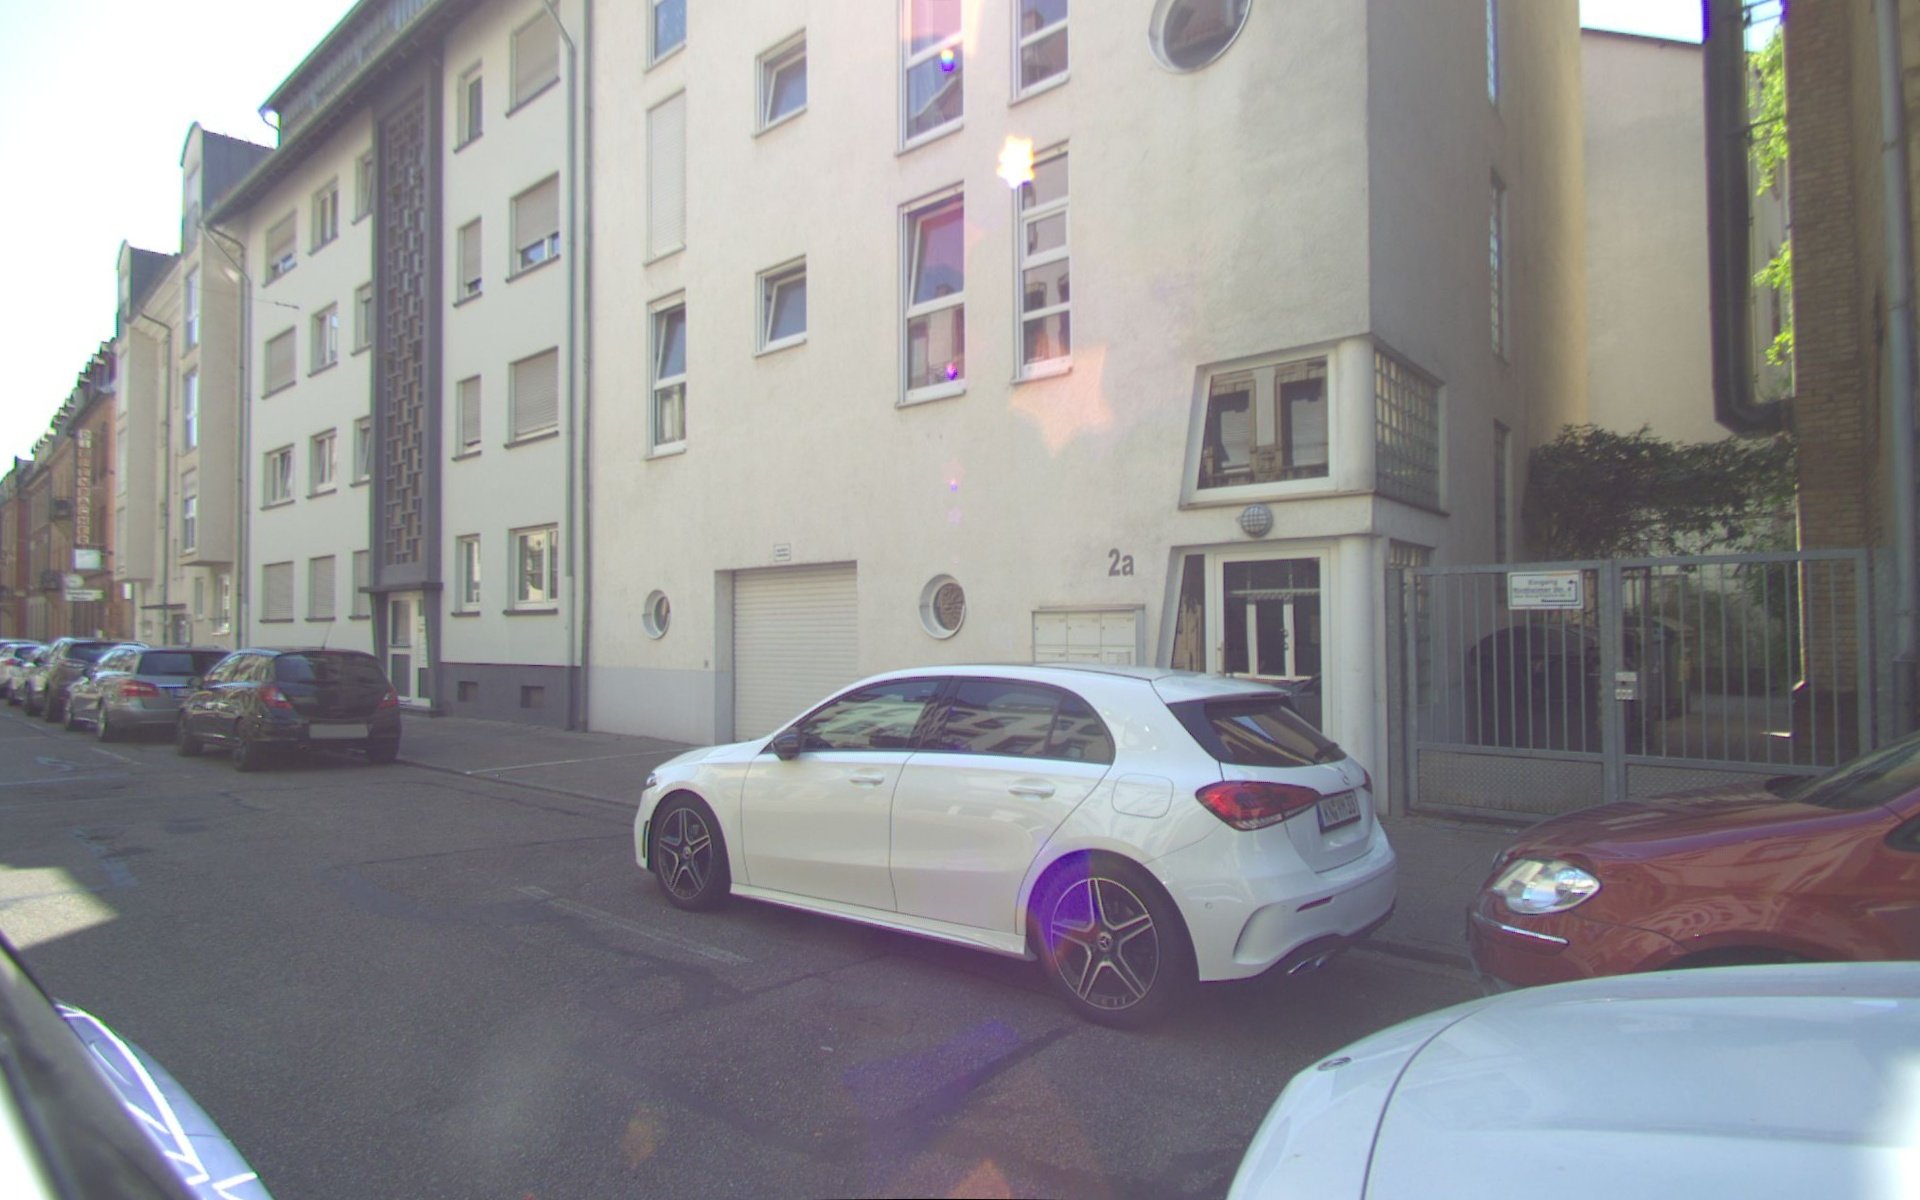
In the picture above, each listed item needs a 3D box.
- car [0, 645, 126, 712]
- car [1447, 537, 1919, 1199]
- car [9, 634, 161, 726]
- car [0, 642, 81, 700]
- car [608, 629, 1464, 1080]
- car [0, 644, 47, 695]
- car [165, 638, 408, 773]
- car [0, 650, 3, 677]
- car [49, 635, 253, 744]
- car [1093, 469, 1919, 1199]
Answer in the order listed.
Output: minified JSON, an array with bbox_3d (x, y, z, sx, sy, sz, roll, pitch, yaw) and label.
[{"bbox_3d":[-21.137,1.793,23.645,4.345,1.404,1.747,-2,-5,40],"label":"car"},{"bbox_3d":[3.592,0.671,2.502,4.048,1.595,1.656,-2,-5,39],"label":"car"},{"bbox_3d":[-17.350,1.523,20.014,3.974,1.657,1.587,-2,-5,40],"label":"car"},{"bbox_3d":[-26.152,1.943,28.234,4.345,1.506,1.713,-2,-5,40],"label":"car"},{"bbox_3d":[0.147,0.933,5.378,4.273,1.471,1.759,-2,-5,38],"label":"car"},{"bbox_3d":[-31.336,2.223,32.959,3.847,1.561,1.613,-2,-6,38],"label":"car"},{"bbox_3d":[-8.872,1.277,13.215,3.891,1.503,1.551,-2,-5,40],"label":"car"},{"bbox_3d":[-39.418,2.649,40.143,3.836,1.440,1.758,-2,-7,42],"label":"car"},{"bbox_3d":[-13.211,1.369,16.423,4.667,1.530,1.639,-2,-5,40],"label":"car"},{"bbox_3d":[2.357,0.677,0.198,4.359,1.472,1.822,-2,-5,40],"label":"car"}]
